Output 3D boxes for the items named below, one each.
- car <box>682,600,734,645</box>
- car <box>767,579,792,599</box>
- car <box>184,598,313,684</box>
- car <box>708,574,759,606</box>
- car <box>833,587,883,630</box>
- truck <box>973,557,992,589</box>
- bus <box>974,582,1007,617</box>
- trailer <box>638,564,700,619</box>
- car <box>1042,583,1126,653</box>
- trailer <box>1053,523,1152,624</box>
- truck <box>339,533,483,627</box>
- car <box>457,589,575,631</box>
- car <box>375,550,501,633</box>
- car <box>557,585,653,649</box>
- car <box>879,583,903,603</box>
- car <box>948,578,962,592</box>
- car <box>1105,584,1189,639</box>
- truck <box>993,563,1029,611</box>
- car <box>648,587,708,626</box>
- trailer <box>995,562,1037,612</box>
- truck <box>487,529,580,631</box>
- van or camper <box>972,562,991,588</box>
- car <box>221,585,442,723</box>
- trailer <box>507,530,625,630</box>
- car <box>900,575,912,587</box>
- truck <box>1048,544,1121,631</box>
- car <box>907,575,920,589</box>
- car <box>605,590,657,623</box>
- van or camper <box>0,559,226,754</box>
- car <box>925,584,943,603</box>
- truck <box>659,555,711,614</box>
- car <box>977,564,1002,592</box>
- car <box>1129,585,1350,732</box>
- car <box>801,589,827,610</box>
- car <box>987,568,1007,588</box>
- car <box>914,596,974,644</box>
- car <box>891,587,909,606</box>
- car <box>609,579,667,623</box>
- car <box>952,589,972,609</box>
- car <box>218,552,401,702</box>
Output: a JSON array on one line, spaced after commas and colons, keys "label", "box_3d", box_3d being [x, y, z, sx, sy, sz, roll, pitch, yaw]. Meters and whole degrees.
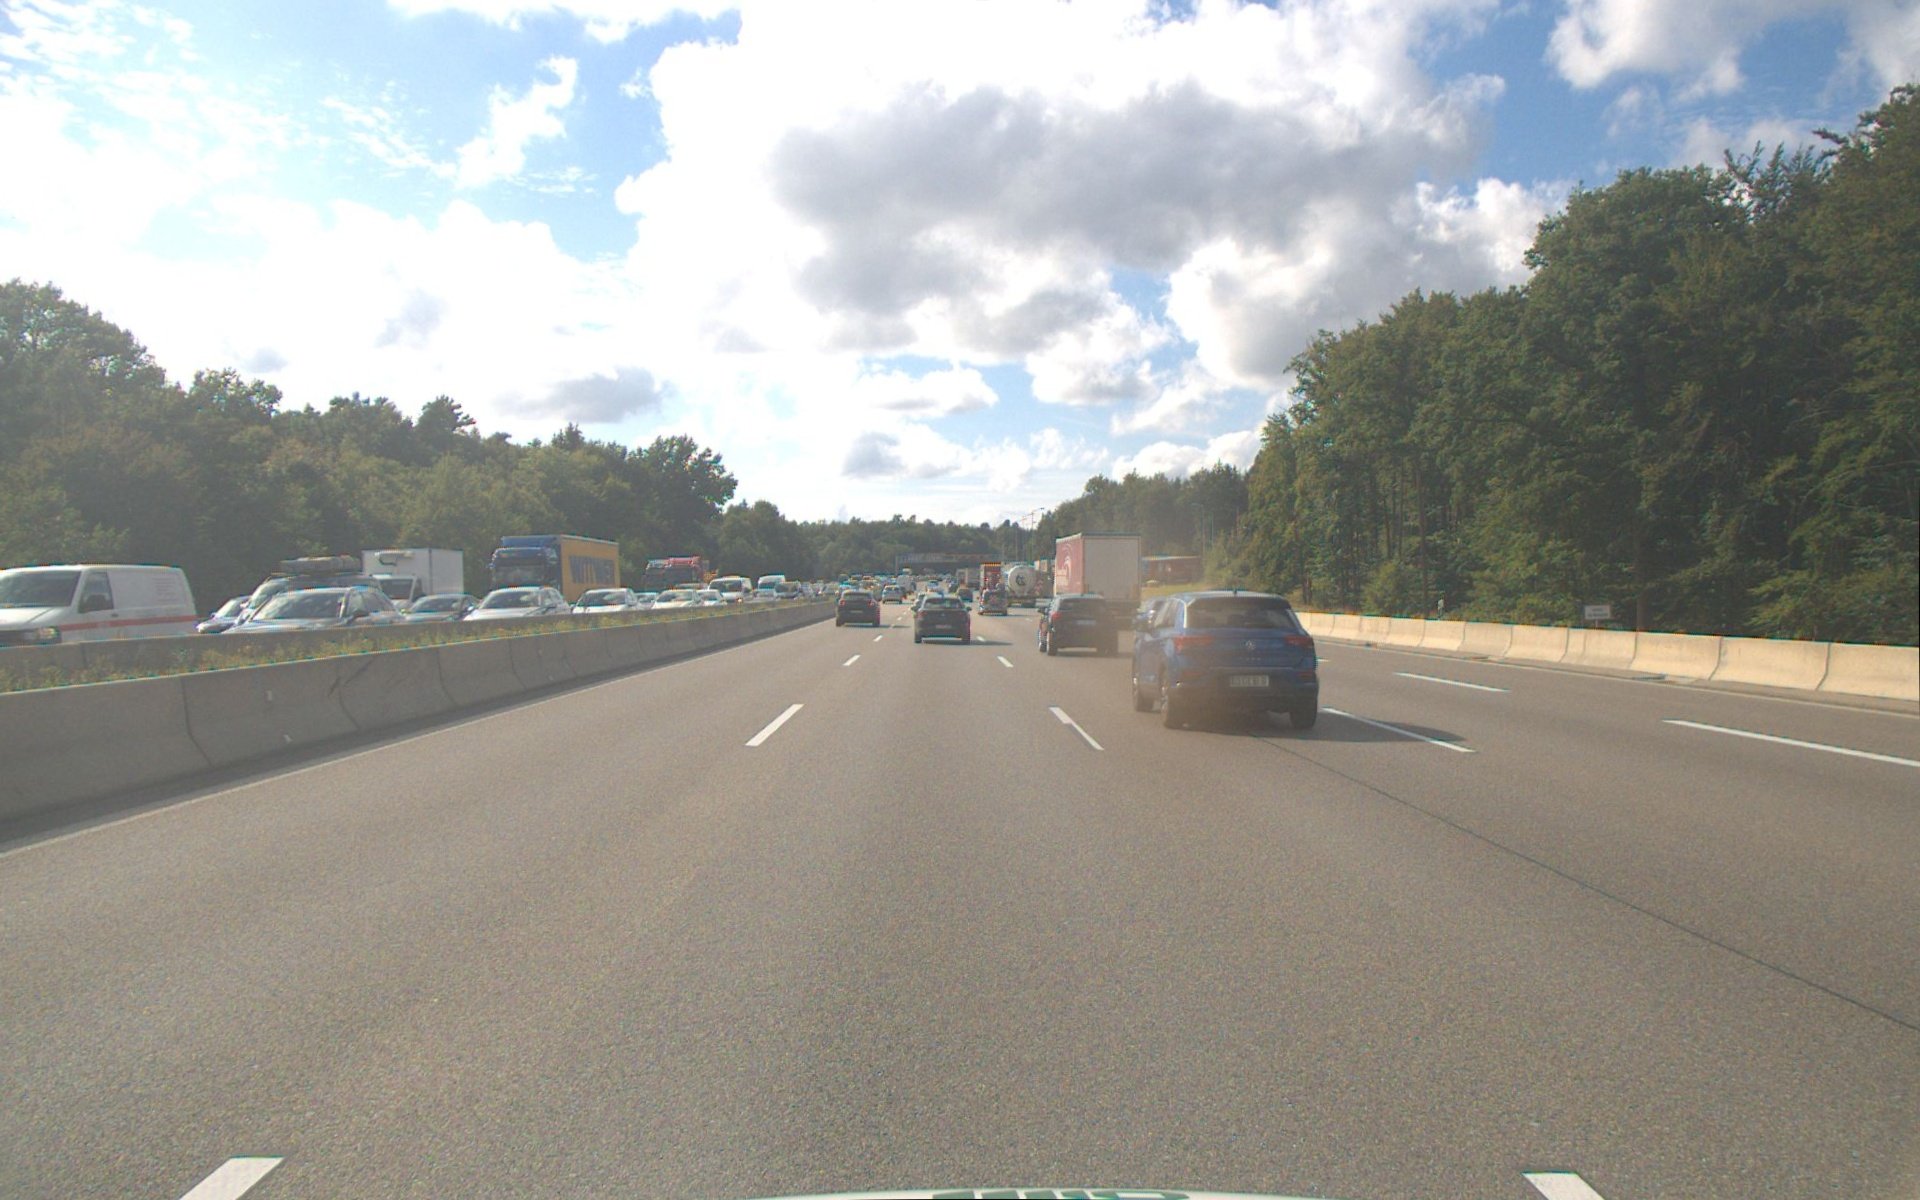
[{"label": "car", "box_3d": [-10.712, 0.949, 70.535, 1.653, 1.848, 4.294, 1, -1, -2]}, {"label": "car", "box_3d": [-15.536, -0.961, 142.493, 1.763, 1.660, 4.661, -1, 0, -1]}, {"label": "car", "box_3d": [-17.879, 1.020, 41.764, 1.610, 2.049, 3.998, 1, -1, -2]}, {"label": "car", "box_3d": [-10.717, -0.454, 78.586, 1.812, 1.378, 5.486, 1, -1, -2]}, {"label": "car", "box_3d": [-4.459, 0.370, 72.936, 1.953, 1.807, 3.999, 1, 0, -1]}, {"label": "truck", "box_3d": [2.762, -3.295, 204.860, 2.310, 3.635, 11.265, 1, -1, 0]}, {"label": "bus", "box_3d": [1.902, -0.009, 103.715, 1.953, 2.049, 3.999, 1, -1, -1]}, {"label": "trailer", "box_3d": [-23.631, -0.747, 135.064, 2.752, 4.191, 14.040, 1, 1, -1]}, {"label": "car", "box_3d": [3.101, 0.435, 41.993, 1.763, 1.673, 3.999, 1, 0, -1]}, {"label": "trailer", "box_3d": [6.273, -0.996, 75.254, 2.977, 4.106, 13.885, 1, -1, -1]}, {"label": "truck", "box_3d": [-18.307, -0.643, 55.667, 2.281, 2.850, 7.947, 2, 0, -1]}, {"label": "car", "box_3d": [-10.379, 0.211, 38.948, 1.602, 0.873, 4.604, 2, 0, -1]}, {"label": "car", "box_3d": [-13.709, -0.167, 43.719, 1.953, 2.049, 4.655, 1, -1, -2]}, {"label": "car", "box_3d": [-10.482, 0.466, 49.108, 1.953, 1.773, 4.294, 2, 0, -1]}, {"label": "car", "box_3d": [-6.549, -0.655, 156.708, 2.111, 1.807, 3.999, 1, 0, -1]}, {"label": "car", "box_3d": [-0.757, -2.307, 251.386, 1.953, 2.049, 3.999, 1, 0, -1]}, {"label": "car", "box_3d": [5.526, 0.340, 49.395, 1.681, 1.537, 4.297, -1, 0, -5]}, {"label": "truck", "box_3d": [4.576, -1.116, 150.088, 2.984, 4.233, 7.125, 0, 0, -1]}, {"label": "car", "box_3d": [-10.698, 0.222, 62.969, 1.721, 1.401, 3.998, 1, 0, -2]}, {"label": "trailer", "box_3d": [4.765, -1.051, 142.976, 2.975, 4.086, 12.241, 0, 0, -1]}, {"label": "truck", "box_3d": [-18.335, -0.778, 71.453, 2.681, 4.221, 5.614, 1, -1, -2]}, {"label": "van or camper", "box_3d": [2.769, -3.162, 211.687, 2.303, 3.199, 5.710, 1, -1, 0]}, {"label": "car", "box_3d": [-10.092, 0.846, 26.960, 1.953, 2.049, 4.408, 0, -1, -1]}, {"label": "trailer", "box_3d": [-18.526, -0.759, 78.794, 2.715, 4.309, 13.653, 1, -1, -2]}, {"label": "car", "box_3d": [-7.451, -2.647, 229.132, 1.590, 1.496, 3.814, 1, 0, -1]}, {"label": "truck", "box_3d": [6.117, -0.564, 82.005, 3.018, 4.135, 6.067, 1, -1, -1]}, {"label": "car", "box_3d": [-6.898, -2.678, 245.706, 1.953, 2.049, 3.999, 1, 0, -1]}, {"label": "car", "box_3d": [-14.940, 0.307, 75.239, 1.698, 1.425, 3.834, 1, -1, -2]}, {"label": "van or camper", "box_3d": [-13.988, 0.837, 26.357, 2.003, 2.758, 5.749, 1, -1, -1]}, {"label": "car", "box_3d": [-2.982, -0.690, 187.116, 1.953, 2.049, 3.999, -1, -1, -1]}, {"label": "truck", "box_3d": [-19.234, -1.084, 116.066, 2.720, 4.007, 6.850, 1, 0, -2]}, {"label": "car", "box_3d": [3.333, -2.452, 187.752, 2.808, 3.044, 5.149, 1, -1, 0]}, {"label": "car", "box_3d": [3.287, 0.618, 20.358, 1.885, 1.568, 4.645, -1, 1, -1]}, {"label": "car", "box_3d": [-11.637, -0.076, 132.096, 1.799, 1.618, 4.287, -1, 0, -2]}, {"label": "car", "box_3d": [3.941, -2.319, 177.733, 1.953, 2.049, 3.999, 1, -1, -1]}, {"label": "car", "box_3d": [-0.525, 0.597, 51.410, 1.699, 1.389, 3.998, 1, 0, -3]}, {"label": "car", "box_3d": [-6.823, -0.389, 188.551, 1.953, 2.049, 3.999, 1, 0, -1]}, {"label": "car", "box_3d": [-14.070, 0.016, 72.559, 1.710, 1.797, 4.840, 1, 1, -2]}, {"label": "car", "box_3d": [0.190, -0.124, 171.040, 1.953, 2.049, 3.999, 1, 0, -1]}, {"label": "car", "box_3d": [-14.273, 0.540, 36.660, 1.953, 3.015, 5.401, 2, 0, -1]}]
